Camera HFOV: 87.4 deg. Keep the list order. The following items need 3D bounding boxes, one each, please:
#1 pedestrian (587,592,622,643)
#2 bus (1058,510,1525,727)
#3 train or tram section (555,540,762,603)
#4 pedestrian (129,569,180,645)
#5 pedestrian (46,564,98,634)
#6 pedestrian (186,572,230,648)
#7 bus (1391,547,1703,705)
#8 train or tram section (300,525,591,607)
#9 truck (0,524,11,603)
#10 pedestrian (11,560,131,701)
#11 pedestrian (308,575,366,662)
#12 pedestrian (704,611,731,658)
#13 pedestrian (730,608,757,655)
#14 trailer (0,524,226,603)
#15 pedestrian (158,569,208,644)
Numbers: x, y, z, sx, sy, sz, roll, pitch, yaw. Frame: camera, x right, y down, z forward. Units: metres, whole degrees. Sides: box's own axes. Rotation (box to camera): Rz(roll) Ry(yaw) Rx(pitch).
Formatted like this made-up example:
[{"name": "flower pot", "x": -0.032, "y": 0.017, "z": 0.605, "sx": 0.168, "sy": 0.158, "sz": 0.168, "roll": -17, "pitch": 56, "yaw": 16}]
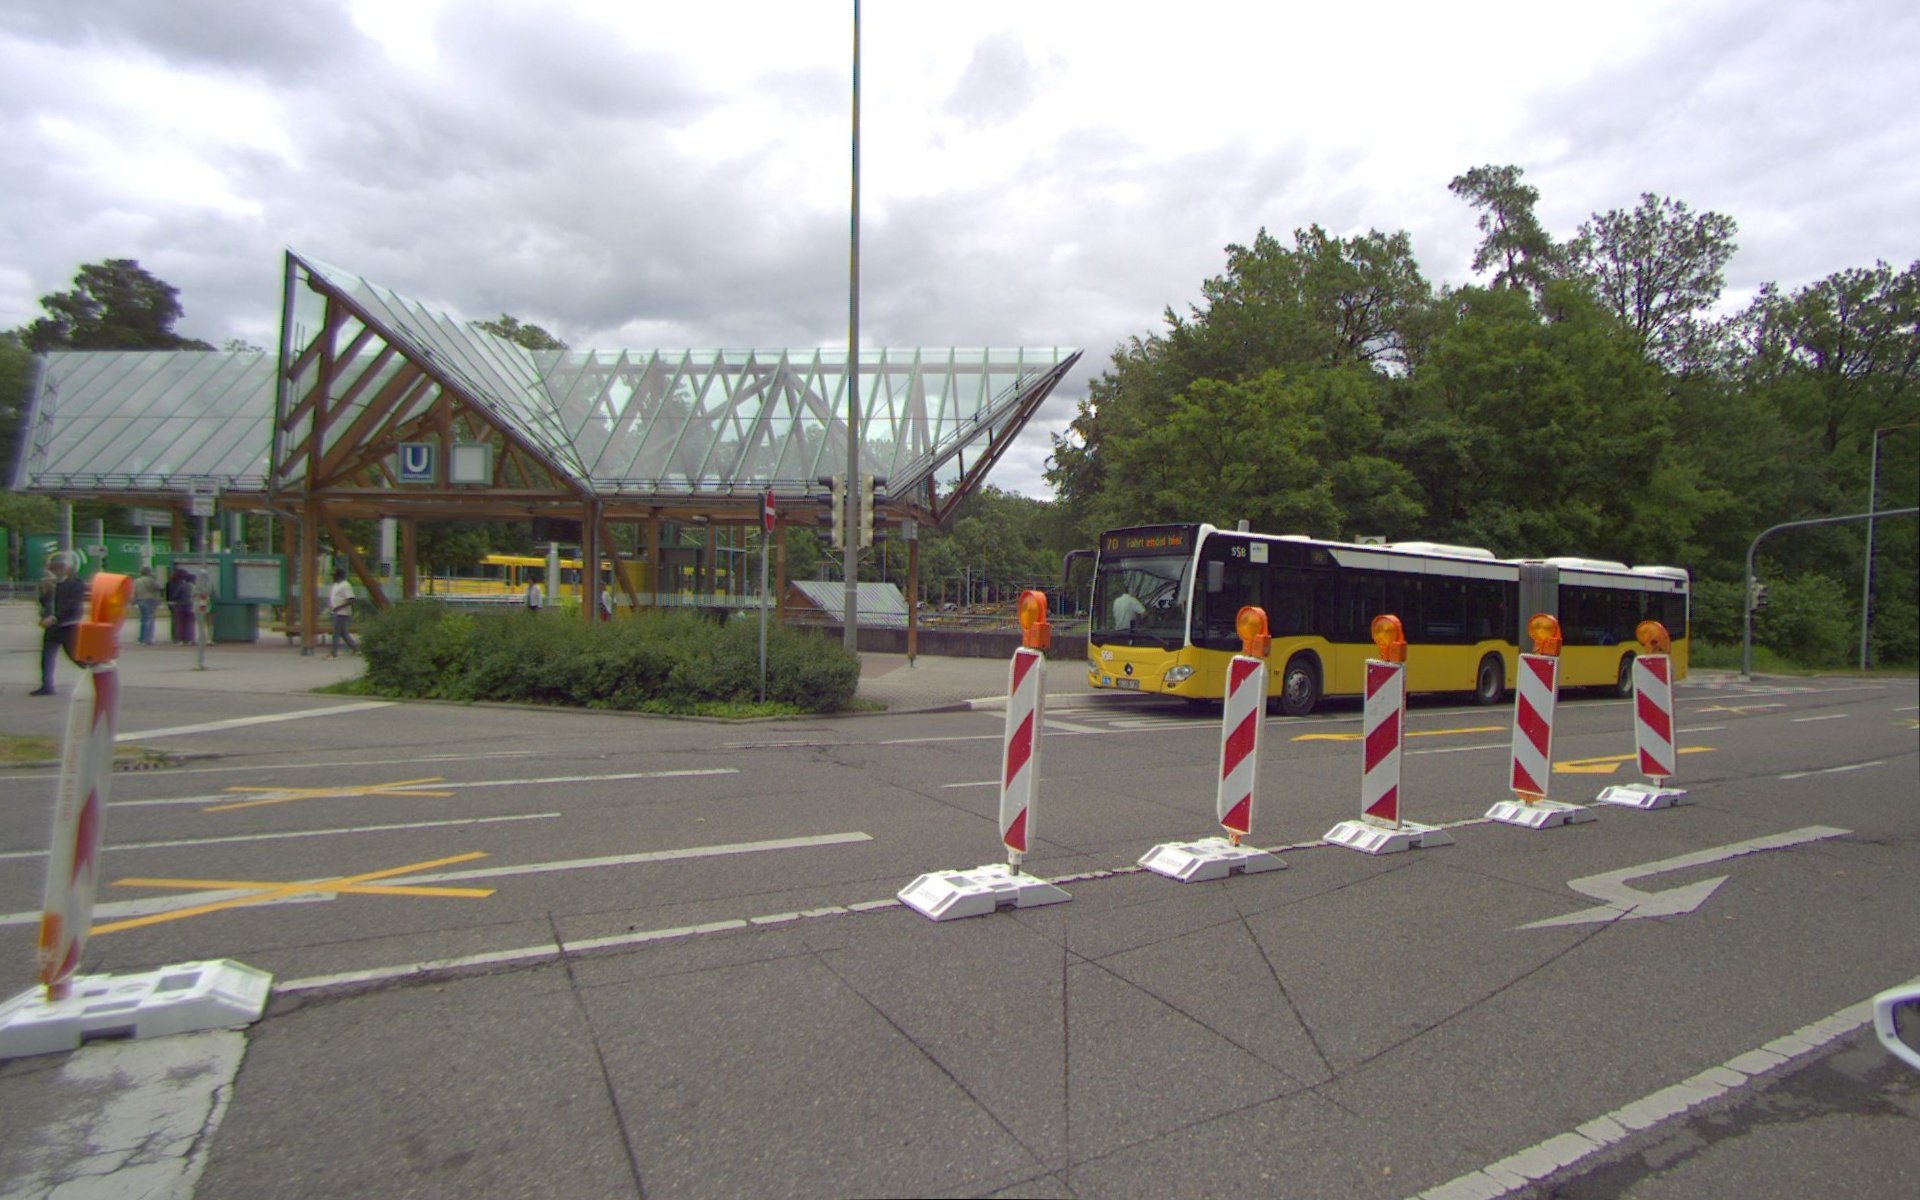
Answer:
[{"name": "pedestrian", "x": -9.273, "y": 0.442, "z": 26.220, "sx": 0.751, "sy": 1.286, "sz": 0.393, "roll": 2, "pitch": 2, "yaw": 7}, {"name": "bus", "x": 6.485, "y": 0.372, "z": 18.608, "sx": 9.658, "sy": 3.169, "sz": 2.881, "roll": 2, "pitch": 0, "yaw": -34}, {"name": "train or tram section", "x": -24.232, "y": -2.251, "z": 83.584, "sx": 3.519, "sy": 4.595, "sz": 20.632, "roll": 2, "pitch": 2, "yaw": 25}, {"name": "pedestrian", "x": -17.949, "y": 0.149, "z": 22.380, "sx": 0.572, "sy": 1.647, "sz": 0.674, "roll": 2, "pitch": 2, "yaw": 8}, {"name": "pedestrian", "x": -21.381, "y": -0.026, "z": 24.195, "sx": 0.759, "sy": 1.647, "sz": 0.780, "roll": 1, "pitch": 2, "yaw": -26}, {"name": "pedestrian", "x": -16.671, "y": 0.216, "z": 22.292, "sx": 0.574, "sy": 1.647, "sz": 0.671, "roll": 1, "pitch": 2, "yaw": -17}, {"name": "bus", "x": 14.054, "y": 0.602, "z": 23.724, "sx": 8.604, "sy": 3.169, "sz": 2.881, "roll": 2, "pitch": 0, "yaw": -34}, {"name": "train or tram section", "x": -32.600, "y": -2.046, "z": 65.801, "sx": 3.519, "sy": 4.595, "sz": 18.664, "roll": 2, "pitch": 2, "yaw": 25}, {"name": "truck", "x": -51.416, "y": -1.865, "z": 47.590, "sx": 3.723, "sy": 3.934, "sz": 8.749, "roll": 3, "pitch": 2, "yaw": 32}, {"name": "pedestrian", "x": -12.134, "y": 0.387, "z": 13.735, "sx": 0.751, "sy": 1.833, "sz": 0.994, "roll": 2, "pitch": 2, "yaw": 19}, {"name": "pedestrian", "x": -11.886, "y": 0.336, "z": 19.171, "sx": 0.662, "sy": 1.618, "sz": 0.673, "roll": 2, "pitch": 2, "yaw": 18}, {"name": "pedestrian", "x": -5.380, "y": 0.763, "z": 22.271, "sx": 0.557, "sy": 0.997, "sz": 0.547, "roll": 1, "pitch": 2, "yaw": -16}, {"name": "pedestrian", "x": -4.835, "y": 0.701, "z": 22.427, "sx": 0.556, "sy": 0.997, "sz": 0.555, "roll": 1, "pitch": 2, "yaw": -16}, {"name": "trailer", "x": -47.234, "y": -1.910, "z": 54.165, "sx": 3.723, "sy": 3.934, "sz": 11.838, "roll": 3, "pitch": 2, "yaw": 32}, {"name": "pedestrian", "x": -17.429, "y": 0.142, "z": 22.527, "sx": 0.572, "sy": 1.647, "sz": 0.674, "roll": 2, "pitch": 2, "yaw": 8}]
